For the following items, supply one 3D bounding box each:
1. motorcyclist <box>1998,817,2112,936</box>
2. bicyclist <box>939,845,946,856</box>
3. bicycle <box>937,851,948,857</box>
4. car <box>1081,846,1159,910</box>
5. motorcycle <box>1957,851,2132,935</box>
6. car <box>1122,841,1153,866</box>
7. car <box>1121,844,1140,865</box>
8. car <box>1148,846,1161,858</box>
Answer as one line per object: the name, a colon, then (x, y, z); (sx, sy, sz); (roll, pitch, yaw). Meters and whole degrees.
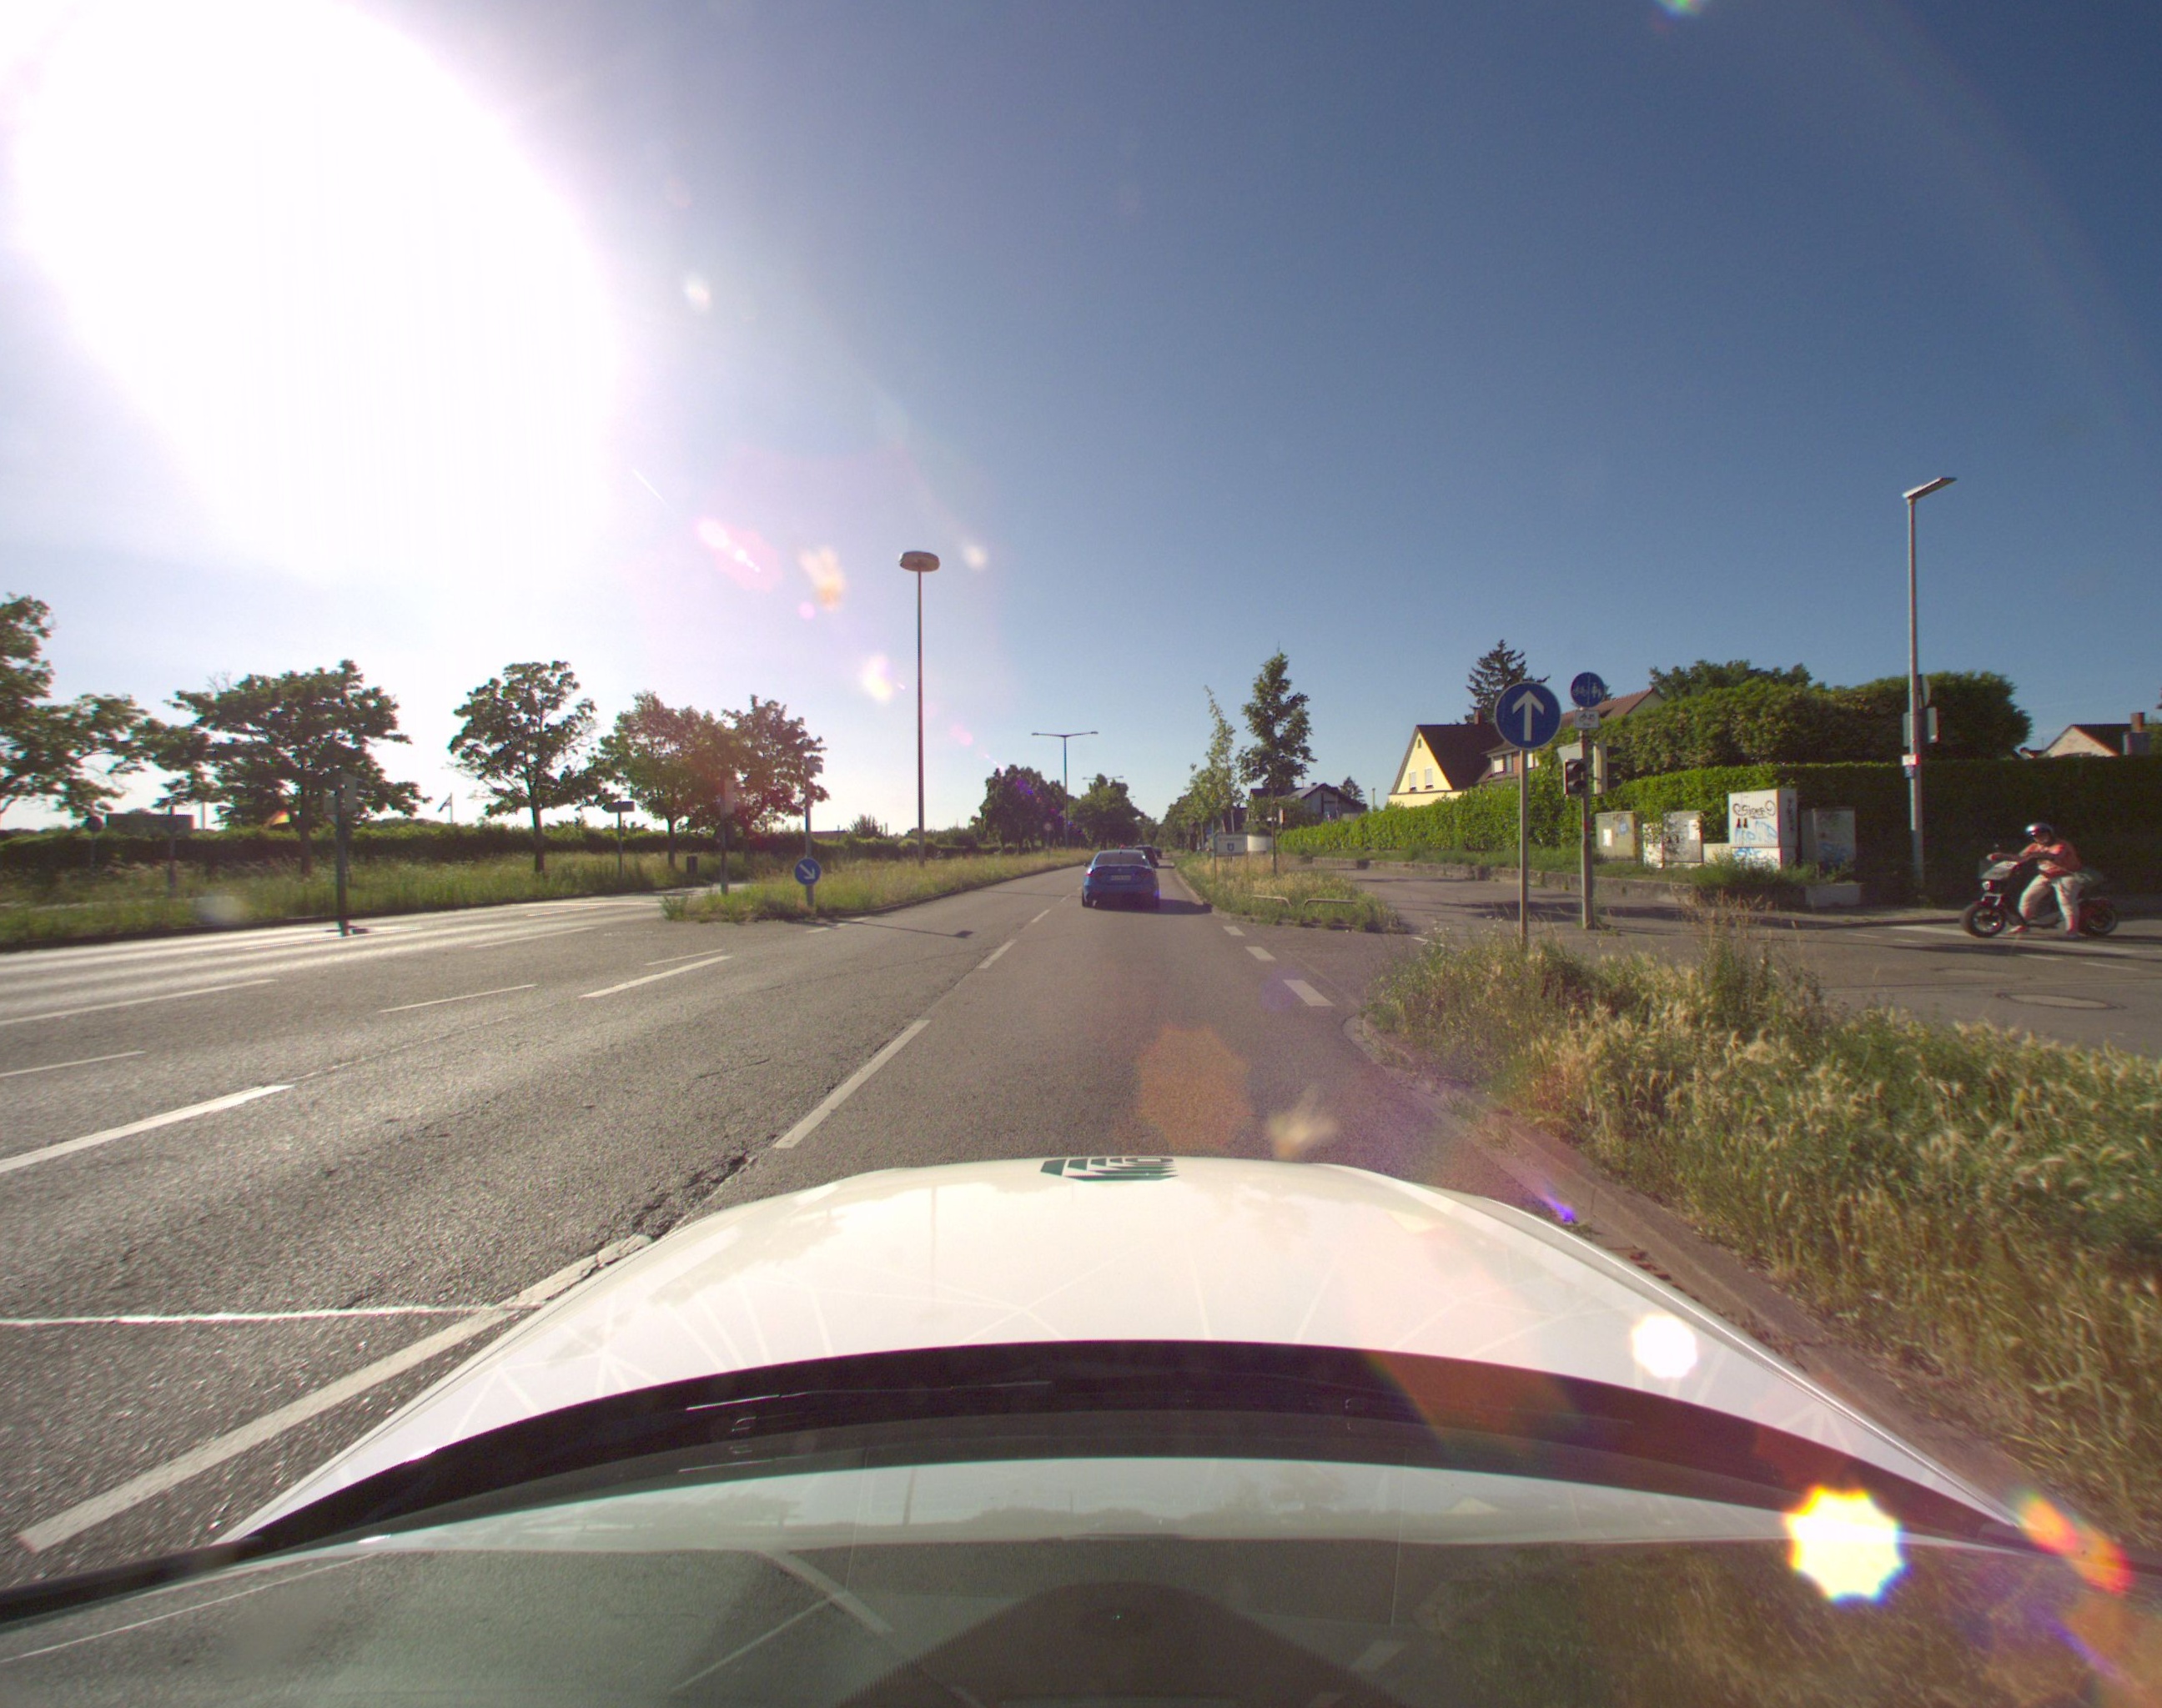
motorcyclist: (13.329, 0.293, 11.167); (0.690, 1.557, 0.701); (-2, 0, 5)
bicyclist: (-16.208, -0.377, 95.132); (0.579, 1.256, 0.578); (0, 0, 12)
bicycle: (-16.186, -0.030, 95.237); (0.561, 0.695, 1.881); (0, 1, 13)
car: (1.001, 0.545, 21.217); (1.831, 1.474, 4.187); (0, 1, 2)
motorcycle: (13.199, 0.533, 11.181); (1.748, 1.071, 0.452); (-2, 0, 4)
car: (3.800, -0.039, 55.017); (1.908, 1.579, 4.184); (-1, 0, 2)
car: (5.039, 0.021, 82.312); (1.784, 2.013, 4.006); (-1, 0, 5)
car: (9.848, -0.316, 108.400); (1.652, 1.579, 3.815); (0, 1, 6)
